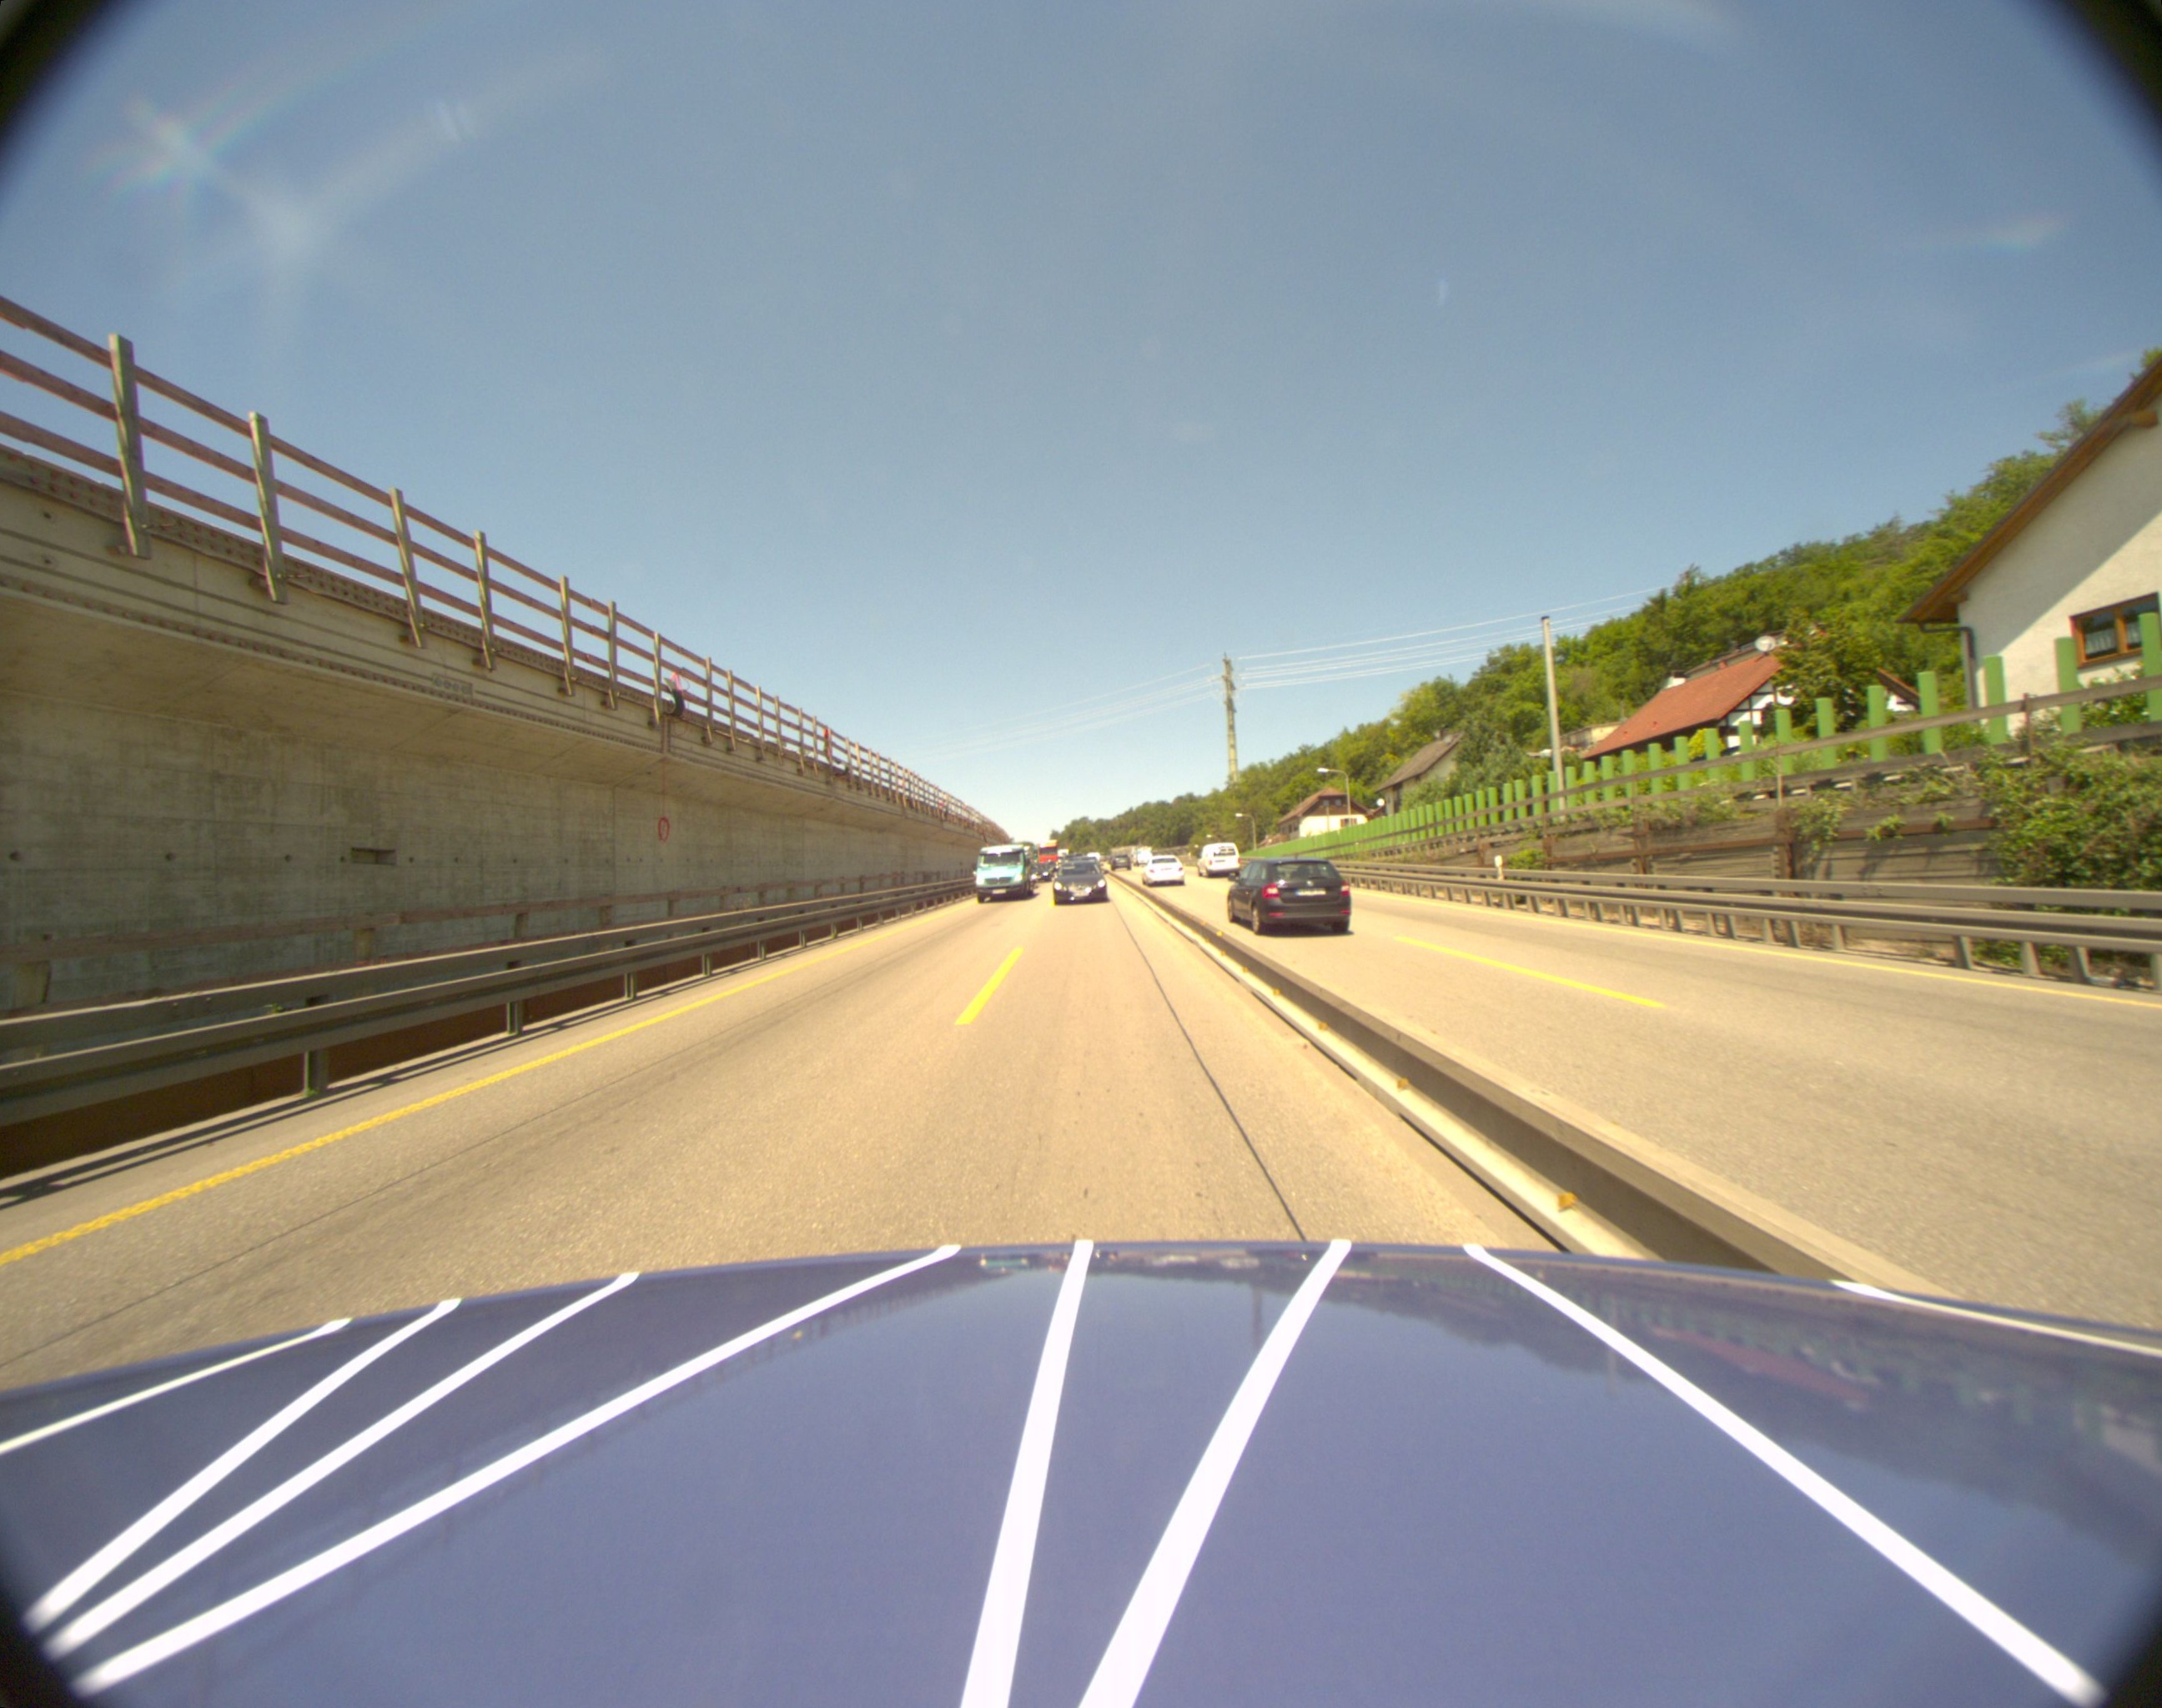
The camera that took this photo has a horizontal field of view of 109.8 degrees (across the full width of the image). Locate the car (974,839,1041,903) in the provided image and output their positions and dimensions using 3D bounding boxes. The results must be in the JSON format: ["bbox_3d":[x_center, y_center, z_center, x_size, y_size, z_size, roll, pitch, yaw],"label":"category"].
[{"bbox_3d":[-3.043,0.669,33.257,1.968,2.367,7.210,-4,0,1],"label":"car"}]

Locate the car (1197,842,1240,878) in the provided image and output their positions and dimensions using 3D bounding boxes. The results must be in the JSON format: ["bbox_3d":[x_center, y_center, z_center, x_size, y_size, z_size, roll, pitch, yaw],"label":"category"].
[{"bbox_3d":[7.619,0.292,42.420,1.600,1.823,4.752,-2,1,1],"label":"car"}]

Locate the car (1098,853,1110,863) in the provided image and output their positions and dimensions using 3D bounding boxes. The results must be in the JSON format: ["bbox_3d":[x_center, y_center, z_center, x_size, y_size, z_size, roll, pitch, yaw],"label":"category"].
[{"bbox_3d":[4.401,0.801,144.104,1.999,1.816,4.508,-2,0,0],"label":"car"}]

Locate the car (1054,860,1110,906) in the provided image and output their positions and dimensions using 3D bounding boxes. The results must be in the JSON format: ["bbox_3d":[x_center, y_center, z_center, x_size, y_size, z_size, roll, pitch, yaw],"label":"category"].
[{"bbox_3d":[-0.021,0.962,27.036,1.793,1.440,4.297,-2,0,-2],"label":"car"}]

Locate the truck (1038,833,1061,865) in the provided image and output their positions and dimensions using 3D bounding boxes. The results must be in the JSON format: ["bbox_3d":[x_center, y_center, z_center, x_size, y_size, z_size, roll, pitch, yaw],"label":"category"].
[{"bbox_3d":[-4.292,-0.700,105.791,2.651,3.978,11.193,-5,1,-2],"label":"truck"}]

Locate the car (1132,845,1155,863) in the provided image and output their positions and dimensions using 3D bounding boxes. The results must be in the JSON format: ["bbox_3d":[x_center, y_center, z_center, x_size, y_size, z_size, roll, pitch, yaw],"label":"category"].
[{"bbox_3d":[7.222,-0.021,88.711,1.830,1.914,5.241,-3,0,-3],"label":"car"}]

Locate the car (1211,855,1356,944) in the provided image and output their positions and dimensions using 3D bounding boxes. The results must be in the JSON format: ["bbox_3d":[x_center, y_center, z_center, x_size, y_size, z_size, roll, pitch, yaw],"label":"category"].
[{"bbox_3d":[3.938,0.802,15.610,1.610,1.438,4.669,-2,1,-1],"label":"car"}]

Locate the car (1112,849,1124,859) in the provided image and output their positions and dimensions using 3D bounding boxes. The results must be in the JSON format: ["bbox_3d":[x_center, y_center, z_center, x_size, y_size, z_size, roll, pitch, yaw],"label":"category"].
[{"bbox_3d":[5.776,-0.049,119.004,1.753,1.434,4.052,-4,1,1],"label":"car"}]

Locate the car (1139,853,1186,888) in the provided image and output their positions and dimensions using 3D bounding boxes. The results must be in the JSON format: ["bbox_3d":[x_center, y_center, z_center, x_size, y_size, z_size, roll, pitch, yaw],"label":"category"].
[{"bbox_3d":[3.894,0.751,36.791,1.737,1.429,4.258,-3,1,0],"label":"car"}]

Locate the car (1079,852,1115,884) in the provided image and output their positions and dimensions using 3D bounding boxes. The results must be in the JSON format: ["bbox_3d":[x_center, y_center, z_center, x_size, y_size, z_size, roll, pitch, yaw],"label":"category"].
[{"bbox_3d":[0.914,0.823,45.692,1.860,1.650,3.999,-5,1,-1],"label":"car"}]

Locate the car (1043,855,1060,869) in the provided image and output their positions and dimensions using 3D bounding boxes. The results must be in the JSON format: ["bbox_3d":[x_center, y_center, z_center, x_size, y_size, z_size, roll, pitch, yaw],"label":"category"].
[{"bbox_3d":[-3.467,0.924,88.731,1.674,1.499,3.648,-5,1,1],"label":"car"}]

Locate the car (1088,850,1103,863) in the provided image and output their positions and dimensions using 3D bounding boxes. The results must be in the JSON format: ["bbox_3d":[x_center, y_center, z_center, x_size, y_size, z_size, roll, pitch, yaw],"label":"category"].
[{"bbox_3d":[2.252,0.399,120.347,2.163,1.895,5.325,-3,1,0],"label":"car"}]

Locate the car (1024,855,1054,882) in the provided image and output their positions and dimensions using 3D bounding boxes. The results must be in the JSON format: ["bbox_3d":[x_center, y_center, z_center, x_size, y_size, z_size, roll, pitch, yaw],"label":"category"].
[{"bbox_3d":[-2.979,1.019,54.708,1.859,1.650,3.999,-5,1,0],"label":"car"}]

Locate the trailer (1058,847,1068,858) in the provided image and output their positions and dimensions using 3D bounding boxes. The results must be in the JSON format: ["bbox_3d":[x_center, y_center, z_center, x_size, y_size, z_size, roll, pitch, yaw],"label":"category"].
[{"bbox_3d":[-4.964,-0.447,206.942,2.606,2.573,6.240,-4,1,-1],"label":"trailer"}]

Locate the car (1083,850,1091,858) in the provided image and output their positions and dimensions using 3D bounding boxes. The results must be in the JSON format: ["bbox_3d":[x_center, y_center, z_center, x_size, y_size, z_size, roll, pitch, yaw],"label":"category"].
[{"bbox_3d":[1.516,-0.049,190.088,1.998,2.002,4.000,-2,0,1],"label":"car"}]

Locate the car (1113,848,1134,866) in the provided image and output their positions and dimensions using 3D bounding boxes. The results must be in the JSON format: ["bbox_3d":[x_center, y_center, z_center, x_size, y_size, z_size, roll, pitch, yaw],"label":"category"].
[{"bbox_3d":[4.052,0.258,73.181,1.779,1.624,4.100,-3,0,0],"label":"car"}]
